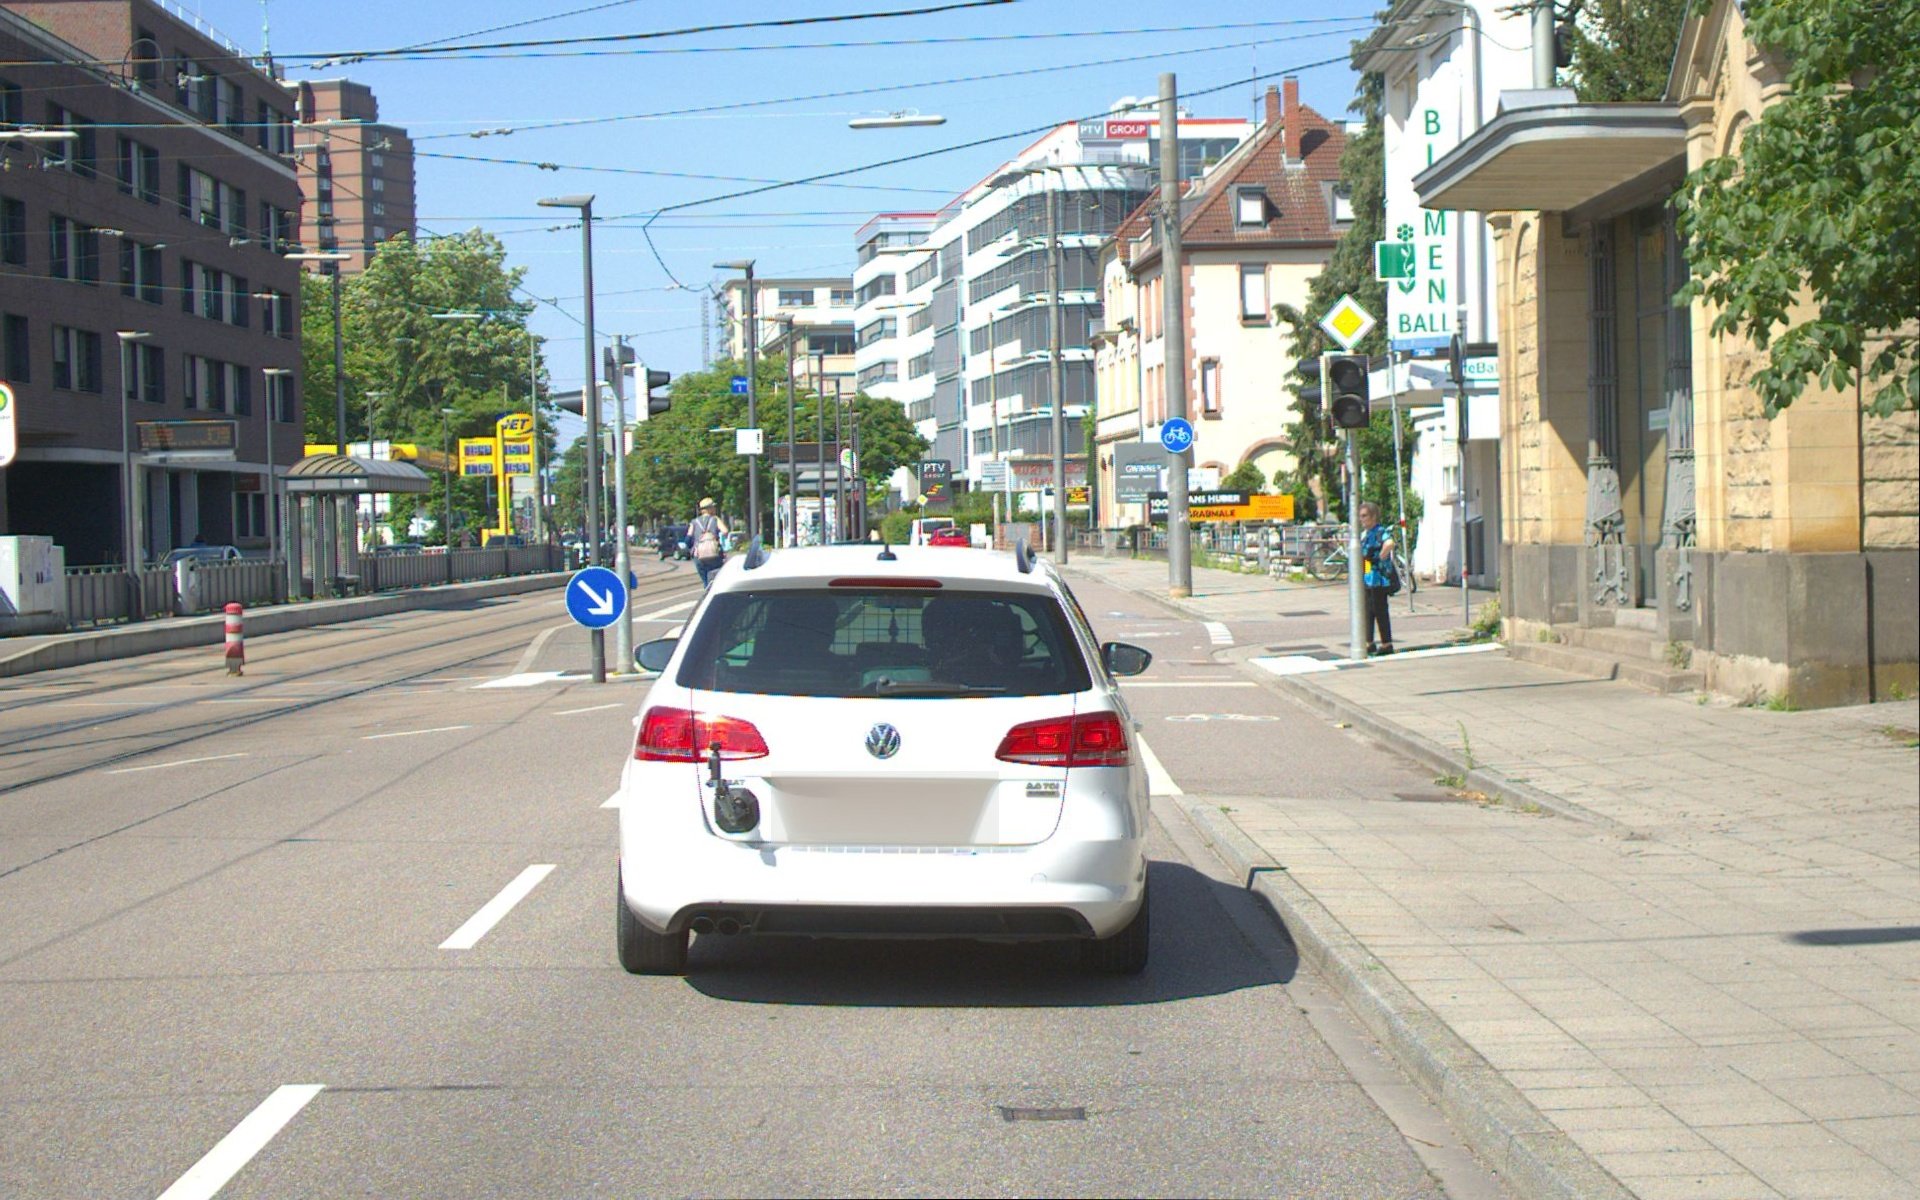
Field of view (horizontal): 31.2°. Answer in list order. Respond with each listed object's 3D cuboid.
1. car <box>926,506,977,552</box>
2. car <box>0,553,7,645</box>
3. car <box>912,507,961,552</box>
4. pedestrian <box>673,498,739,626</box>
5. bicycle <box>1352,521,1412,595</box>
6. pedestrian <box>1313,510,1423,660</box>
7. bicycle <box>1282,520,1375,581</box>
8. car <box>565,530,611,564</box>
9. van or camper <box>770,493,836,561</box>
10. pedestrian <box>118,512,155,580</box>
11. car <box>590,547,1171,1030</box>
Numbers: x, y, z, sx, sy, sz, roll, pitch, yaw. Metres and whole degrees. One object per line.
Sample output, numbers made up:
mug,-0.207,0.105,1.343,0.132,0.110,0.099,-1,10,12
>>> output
car,-0.418,-3.230,156.740,1.993,2.007,4.001,-2,1,-4
car,-15.860,0.040,52.724,1.572,1.454,3.815,-2,1,-3
car,-1.130,-3.330,162.163,1.993,2.007,4.001,-2,1,-4
pedestrian,-3.627,-0.547,49.167,0.826,1.803,0.833,-2,1,1
bicycle,6.750,-0.680,54.942,0.726,1.135,2.193,-1,1,13
pedestrian,4.176,-0.154,35.181,0.780,1.505,0.857,-1,1,35
bicycle,7.074,-0.951,66.013,1.712,1.126,0.525,-2,1,2
car,-16.767,-2.413,155.064,1.667,1.461,3.773,-2,1,0
van or camper,-7.611,-3.548,166.199,2.943,3.169,6.614,-2,1,-4
pedestrian,-21.775,-1.433,90.876,0.725,1.784,0.964,-1,1,0
car,-0.233,0.543,12.381,1.753,1.413,3.853,1,1,0
